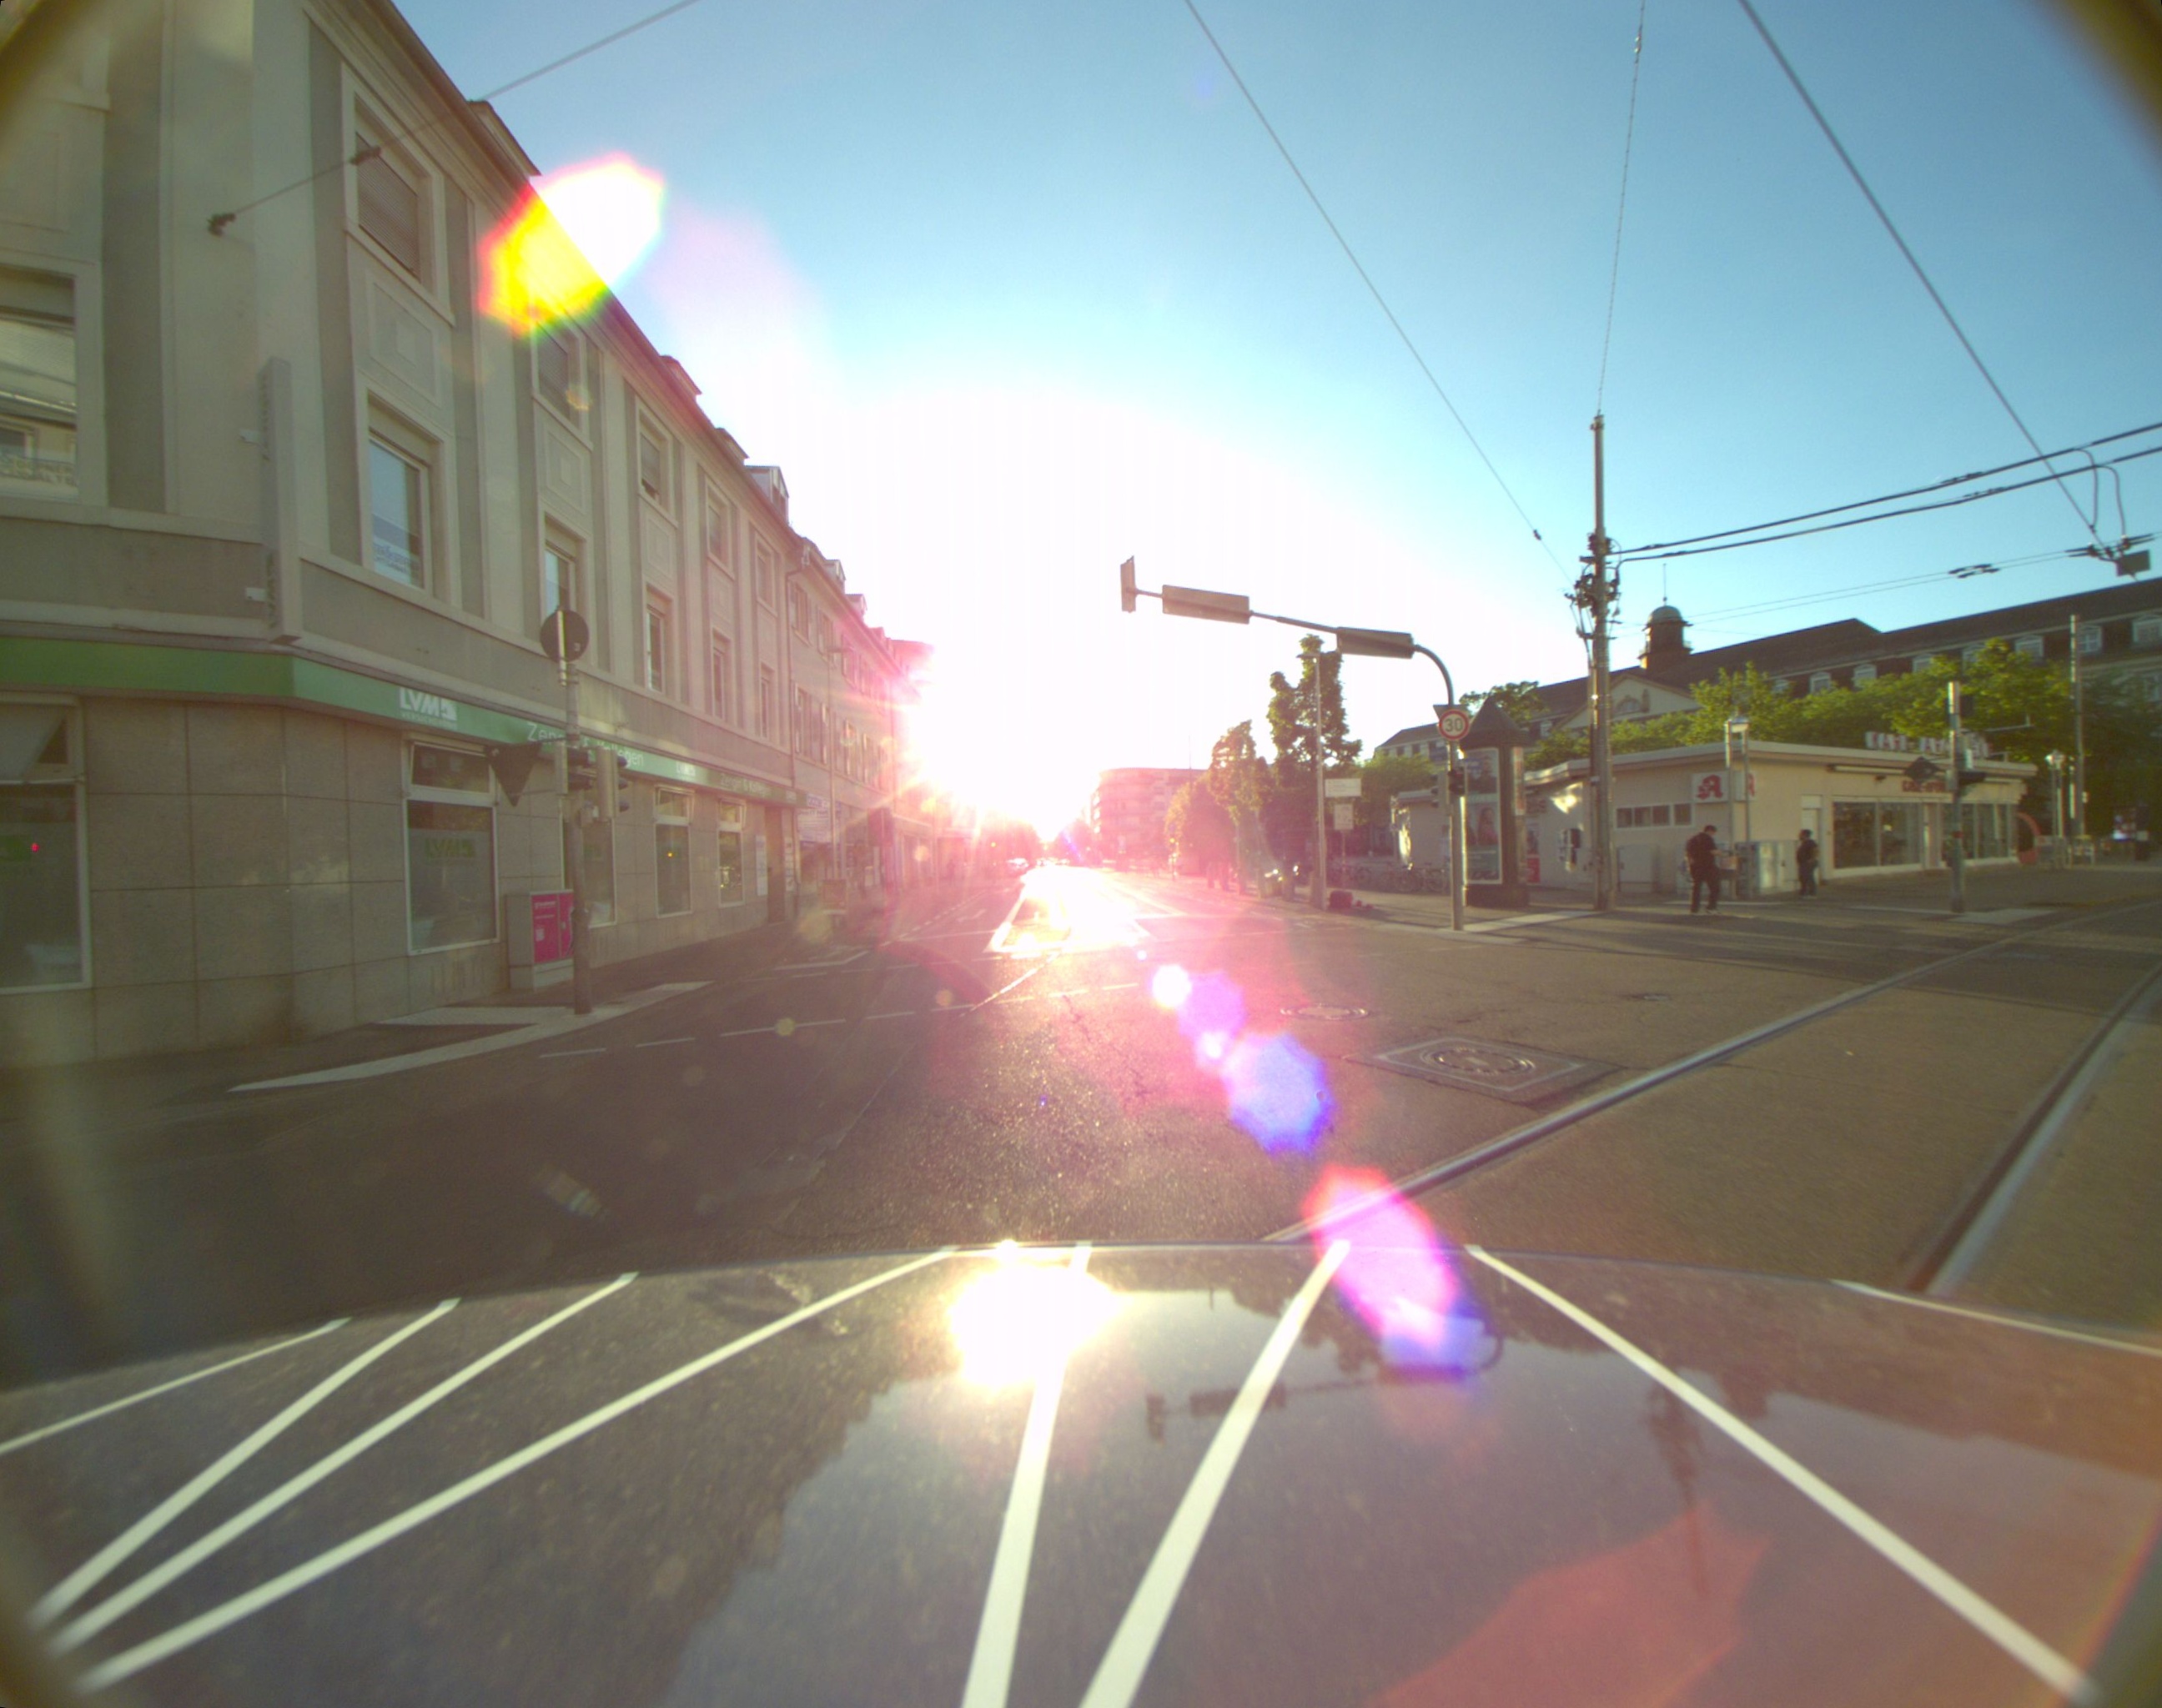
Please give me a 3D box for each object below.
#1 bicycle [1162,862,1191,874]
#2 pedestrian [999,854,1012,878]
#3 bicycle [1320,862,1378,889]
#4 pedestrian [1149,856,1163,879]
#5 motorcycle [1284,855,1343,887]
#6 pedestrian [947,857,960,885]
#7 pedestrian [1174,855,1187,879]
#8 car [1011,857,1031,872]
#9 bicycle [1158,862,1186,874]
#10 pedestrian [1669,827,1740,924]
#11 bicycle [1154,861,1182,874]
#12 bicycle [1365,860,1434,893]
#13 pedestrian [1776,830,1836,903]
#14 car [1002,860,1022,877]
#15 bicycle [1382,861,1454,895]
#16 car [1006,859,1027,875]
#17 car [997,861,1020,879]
[{"bbox_3d":[8.297,1.199,65.918,2.399,0.953,0.672,-3,1,5],"label":"bicycle"},{"bbox_3d":[-5.676,0.884,57.067,0.842,1.736,0.700,-3,1,-4],"label":"pedestrian"},{"bbox_3d":[11.361,0.909,32.226,2.181,1.081,0.779,-1,1,-3],"label":"bicycle"},{"bbox_3d":[5.701,0.997,57.659,0.905,1.667,0.780,-3,1,9],"label":"pedestrian"},{"bbox_3d":[10.811,0.779,35.440,2.450,1.358,0.779,-3,0,3],"label":"motorcycle"},{"bbox_3d":[-8.096,1.067,48.143,0.673,1.774,0.720,0,2,-19],"label":"pedestrian"},{"bbox_3d":[7.092,0.916,54.261,0.778,1.667,0.907,-3,1,5],"label":"pedestrian"},{"bbox_3d":[-7.136,1.234,90.673,1.999,1.638,4.508,-3,1,-2],"label":"car"},{"bbox_3d":[7.981,1.213,66.967,2.399,0.953,0.672,-3,1,5],"label":"bicycle"},{"bbox_3d":[12.064,0.402,14.708,0.908,1.774,0.879,-4,2,-40],"label":"pedestrian"},{"bbox_3d":[7.867,1.224,68.619,2.399,1.065,0.672,-3,1,5],"label":"bicycle"},{"bbox_3d":[11.491,0.809,27.429,2.222,1.081,0.779,-2,1,-9],"label":"bicycle"},{"bbox_3d":[17.294,0.300,18.127,0.781,1.667,0.904,-4,2,-37],"label":"pedestrian"},{"bbox_3d":[-7.170,1.476,79.367,1.999,1.538,4.507,-3,1,-4],"label":"car"},{"bbox_3d":[11.657,0.808,26.315,2.197,1.081,0.779,-2,1,-9],"label":"bicycle"},{"bbox_3d":[-7.136,1.411,84.826,1.999,1.538,4.508,-3,1,-2],"label":"car"},{"bbox_3d":[-6.898,1.509,72.961,1.999,1.538,4.507,-3,1,-4],"label":"car"}]
